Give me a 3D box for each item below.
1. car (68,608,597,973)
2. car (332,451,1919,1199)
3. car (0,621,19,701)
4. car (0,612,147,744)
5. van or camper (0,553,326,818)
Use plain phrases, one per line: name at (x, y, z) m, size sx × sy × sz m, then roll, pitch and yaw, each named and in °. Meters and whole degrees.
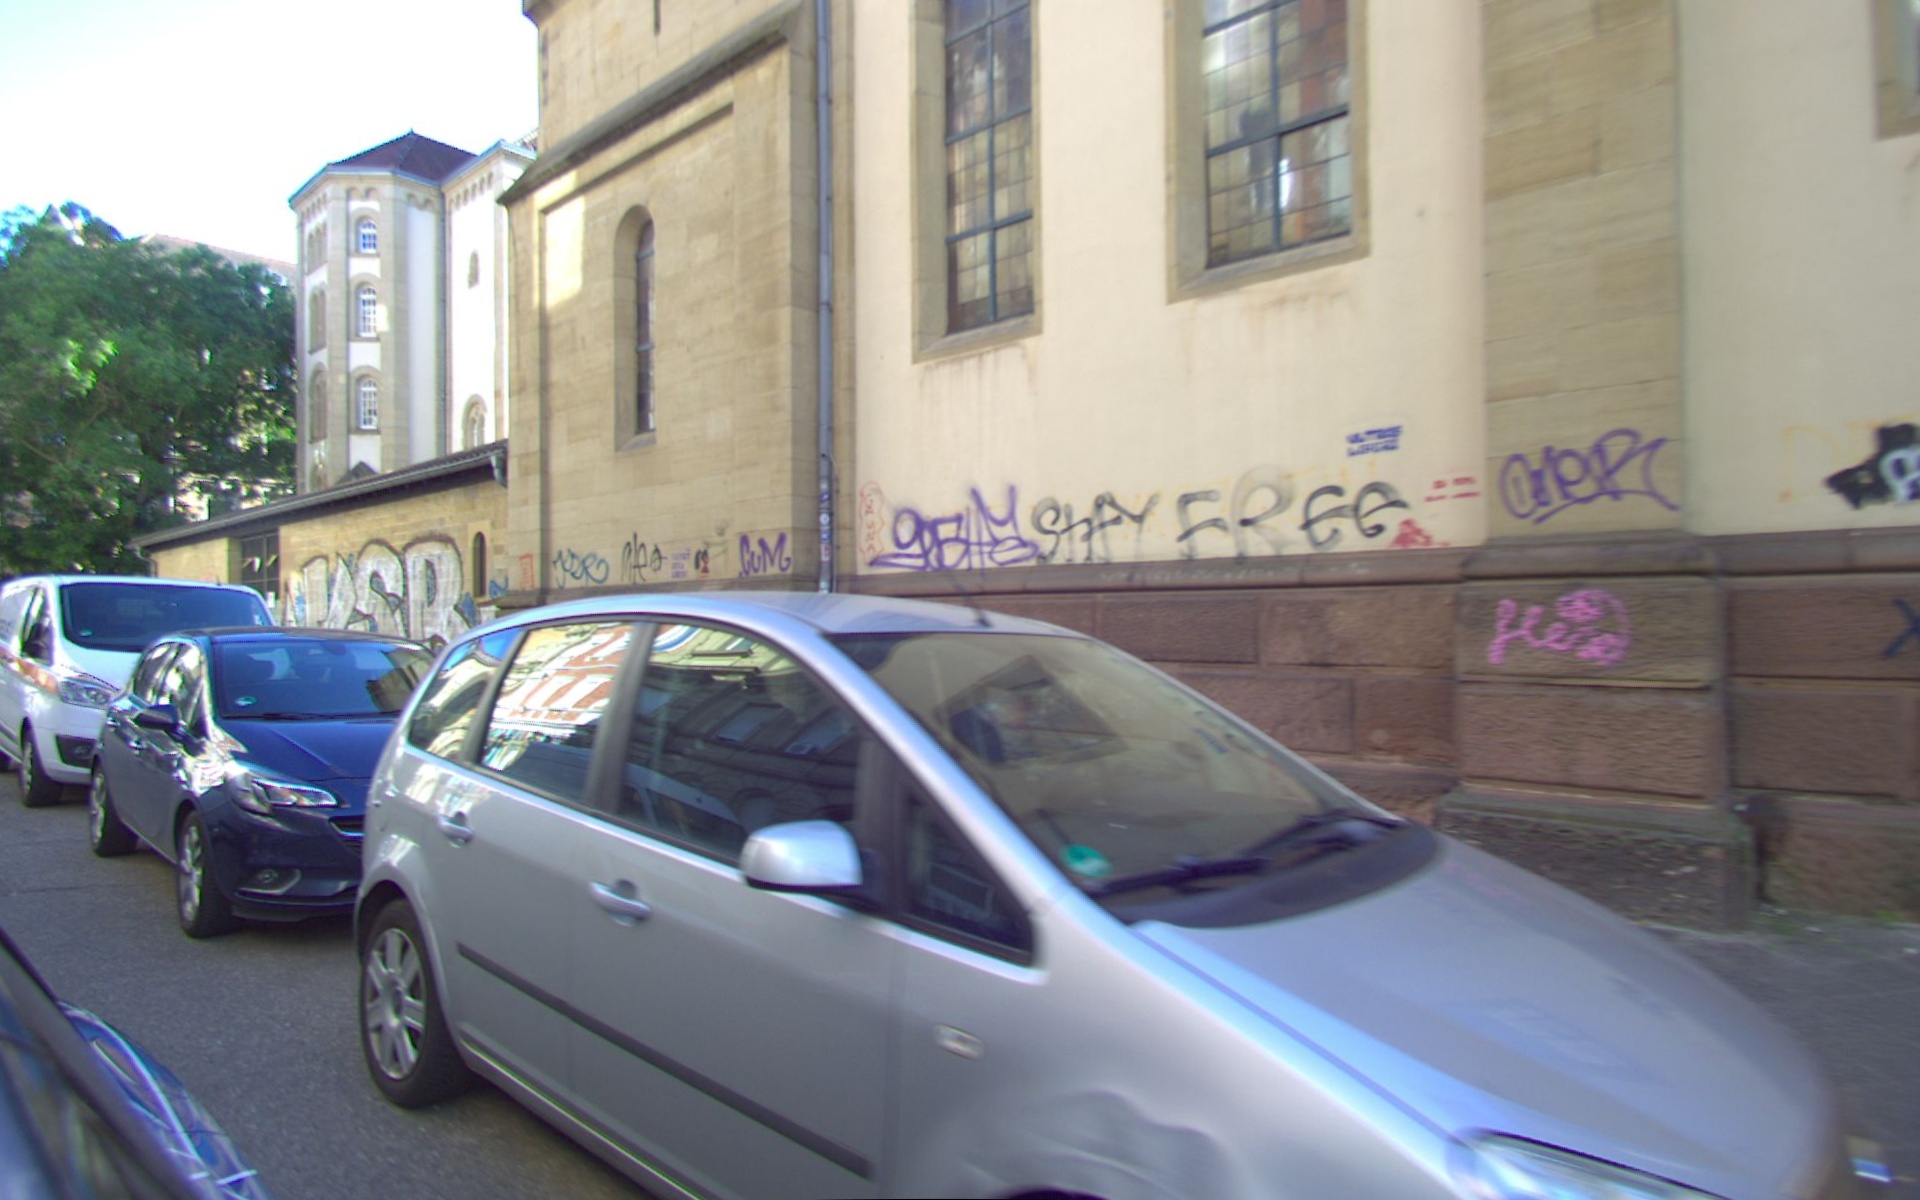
car at (-3.897, 0.823, 6.032) m, size 3.735 × 1.492 × 1.674 m, roll -2°, pitch -1°, yaw 41°
car at (-0.063, 0.681, 2.710) m, size 3.999 × 1.579 × 1.702 m, roll -1°, pitch 0°, yaw 42°
car at (-20.486, 1.220, 20.524) m, size 3.811 × 1.549 × 1.674 m, roll -2°, pitch -1°, yaw 41°
car at (-12.506, 0.982, 13.789) m, size 3.639 × 1.578 × 1.631 m, roll -2°, pitch -1°, yaw 41°
van or camper at (-7.993, 0.681, 9.767) m, size 4.561 × 1.966 × 1.958 m, roll -2°, pitch -1°, yaw 41°
